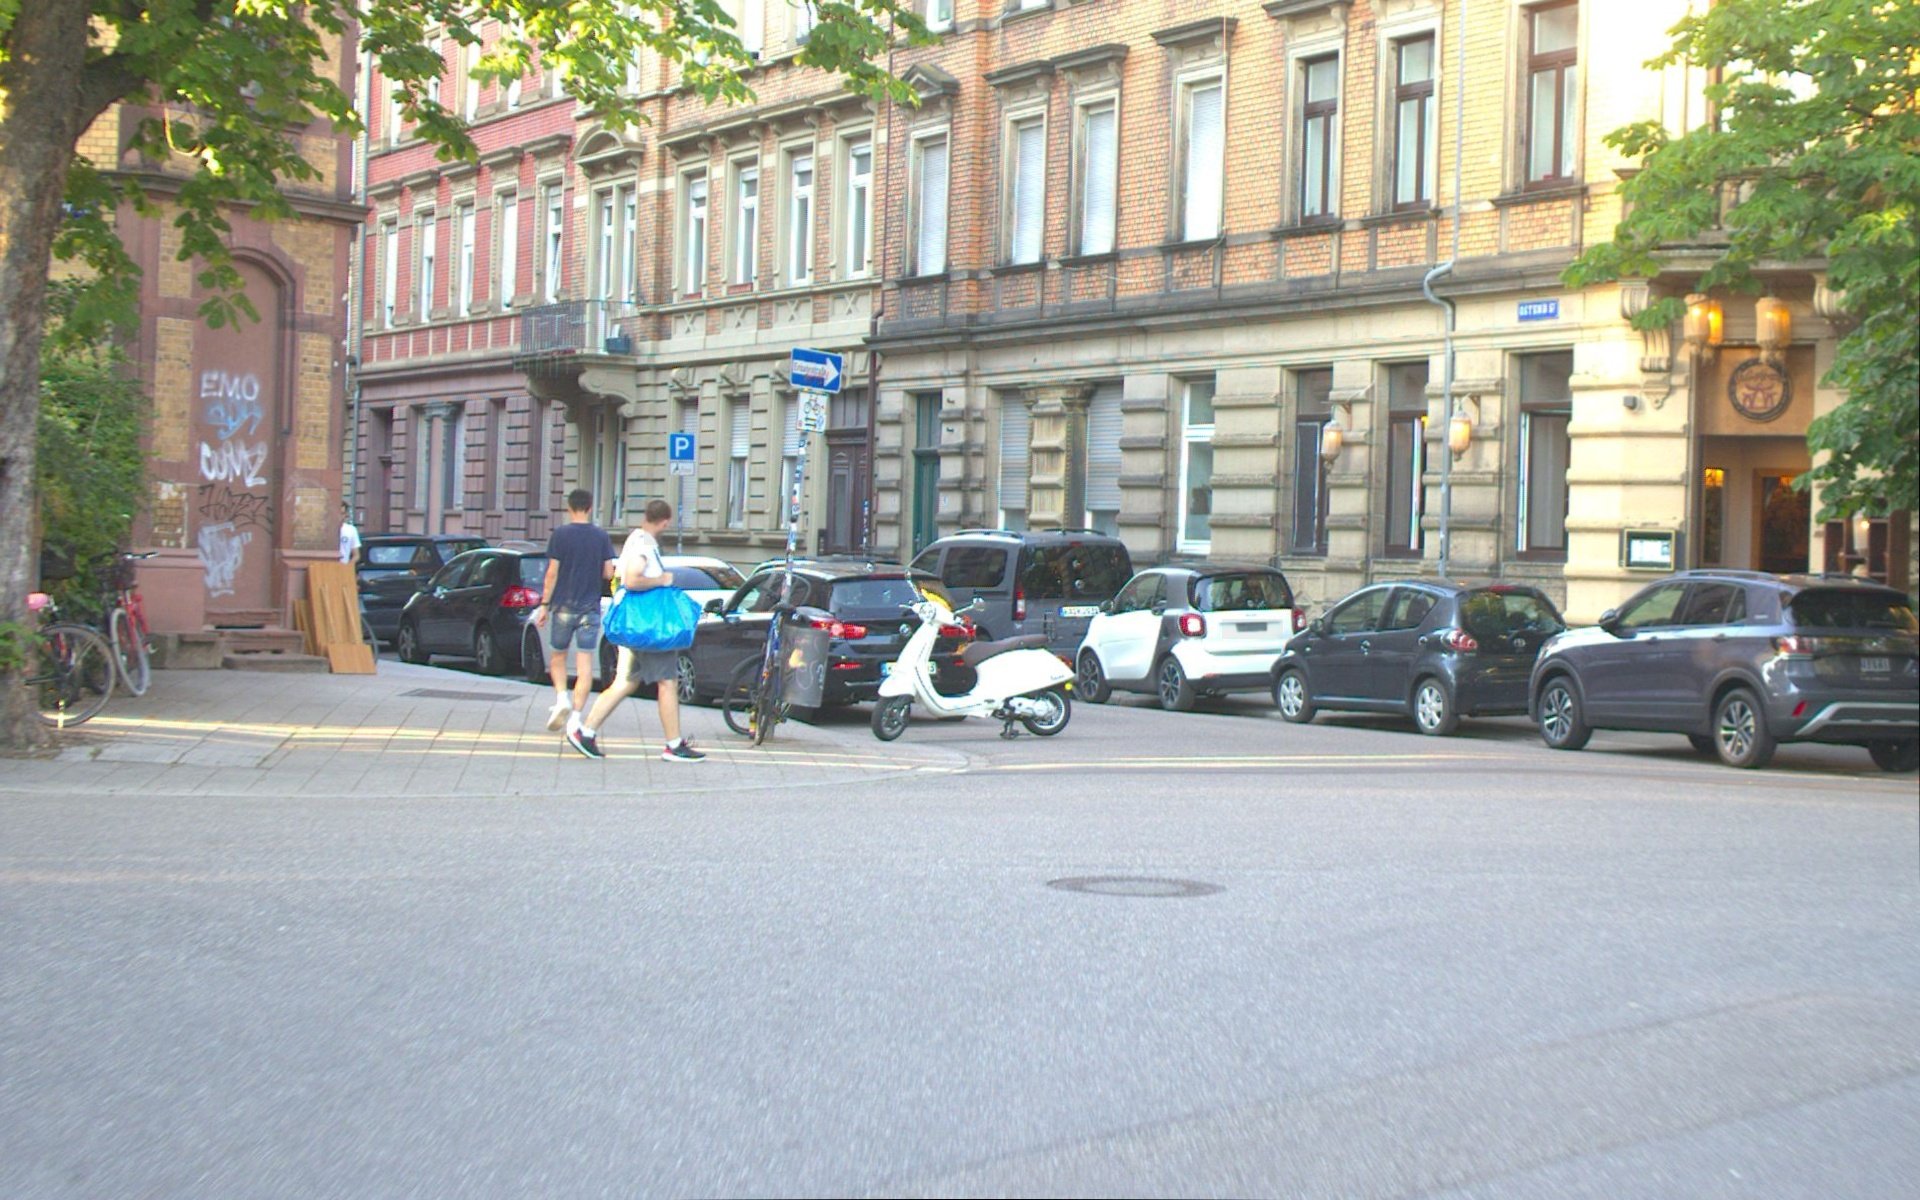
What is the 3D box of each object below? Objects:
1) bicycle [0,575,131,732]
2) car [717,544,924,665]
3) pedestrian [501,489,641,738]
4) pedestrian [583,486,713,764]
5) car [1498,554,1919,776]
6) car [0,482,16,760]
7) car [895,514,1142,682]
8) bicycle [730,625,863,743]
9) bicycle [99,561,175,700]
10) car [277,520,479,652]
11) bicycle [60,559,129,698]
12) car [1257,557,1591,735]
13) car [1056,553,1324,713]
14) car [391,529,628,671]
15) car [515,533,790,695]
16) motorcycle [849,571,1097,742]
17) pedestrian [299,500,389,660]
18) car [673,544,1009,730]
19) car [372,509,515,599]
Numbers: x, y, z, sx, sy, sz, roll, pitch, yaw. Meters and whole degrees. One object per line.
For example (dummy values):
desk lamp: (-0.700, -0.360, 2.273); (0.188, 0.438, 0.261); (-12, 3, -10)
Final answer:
bicycle: (-6.436, 0.349, 22.962); (1.671, 1.024, 0.446); (1, 2, -24)
car: (-1.879, 0.042, 45.537); (1.674, 1.426, 3.016); (2, 2, -25)
pedestrian: (-2.929, 0.088, 25.800); (0.735, 1.798, 1.122); (1, 2, -21)
pedestrian: (-2.132, 0.160, 23.555); (0.815, 1.846, 0.803); (2, 2, -5)
car: (6.427, 0.499, 28.703); (1.914, 1.520, 3.897); (2, 3, -25)
car: (-8.241, 0.054, 20.324); (4.828, 1.726, 1.921); (3, 2, -6)
car: (0.648, -0.047, 40.226); (1.674, 1.776, 3.016); (2, 2, -25)
bicycle: (-1.238, 0.627, 26.291); (0.425, 0.819, 1.460); (3, 2, 21)
bicycle: (-6.559, 0.230, 27.443); (0.319, 1.024, 1.678); (2, 2, -5)
car: (-7.802, -0.214, 45.835); (1.654, 1.519, 3.897); (2, 2, -25)
bicycle: (-6.870, 0.208, 27.323); (0.242, 1.024, 1.678); (2, 2, -5)
car: (4.429, 0.414, 33.246); (1.674, 1.520, 3.244); (1, 2, -25)
car: (2.421, 0.327, 36.775); (1.674, 1.520, 2.768); (2, 2, -25)
car: (-5.369, -0.026, 40.568); (1.654, 1.426, 3.897); (2, 2, -25)
car: (-3.309, 0.108, 36.285); (1.654, 1.426, 4.168); (2, 2, -23)
motorcycle: (0.101, 0.466, 28.404); (1.931, 1.336, 0.577); (2, 2, -11)
pedestrian: (-7.093, -0.238, 39.558); (0.840, 1.798, 0.776); (1, 2, -21)
car: (-1.168, 0.305, 31.719); (1.654, 1.426, 3.991); (2, 2, -24)
car: (-9.147, -0.827, 60.770); (1.674, 1.426, 3.016); (2, 2, -25)
